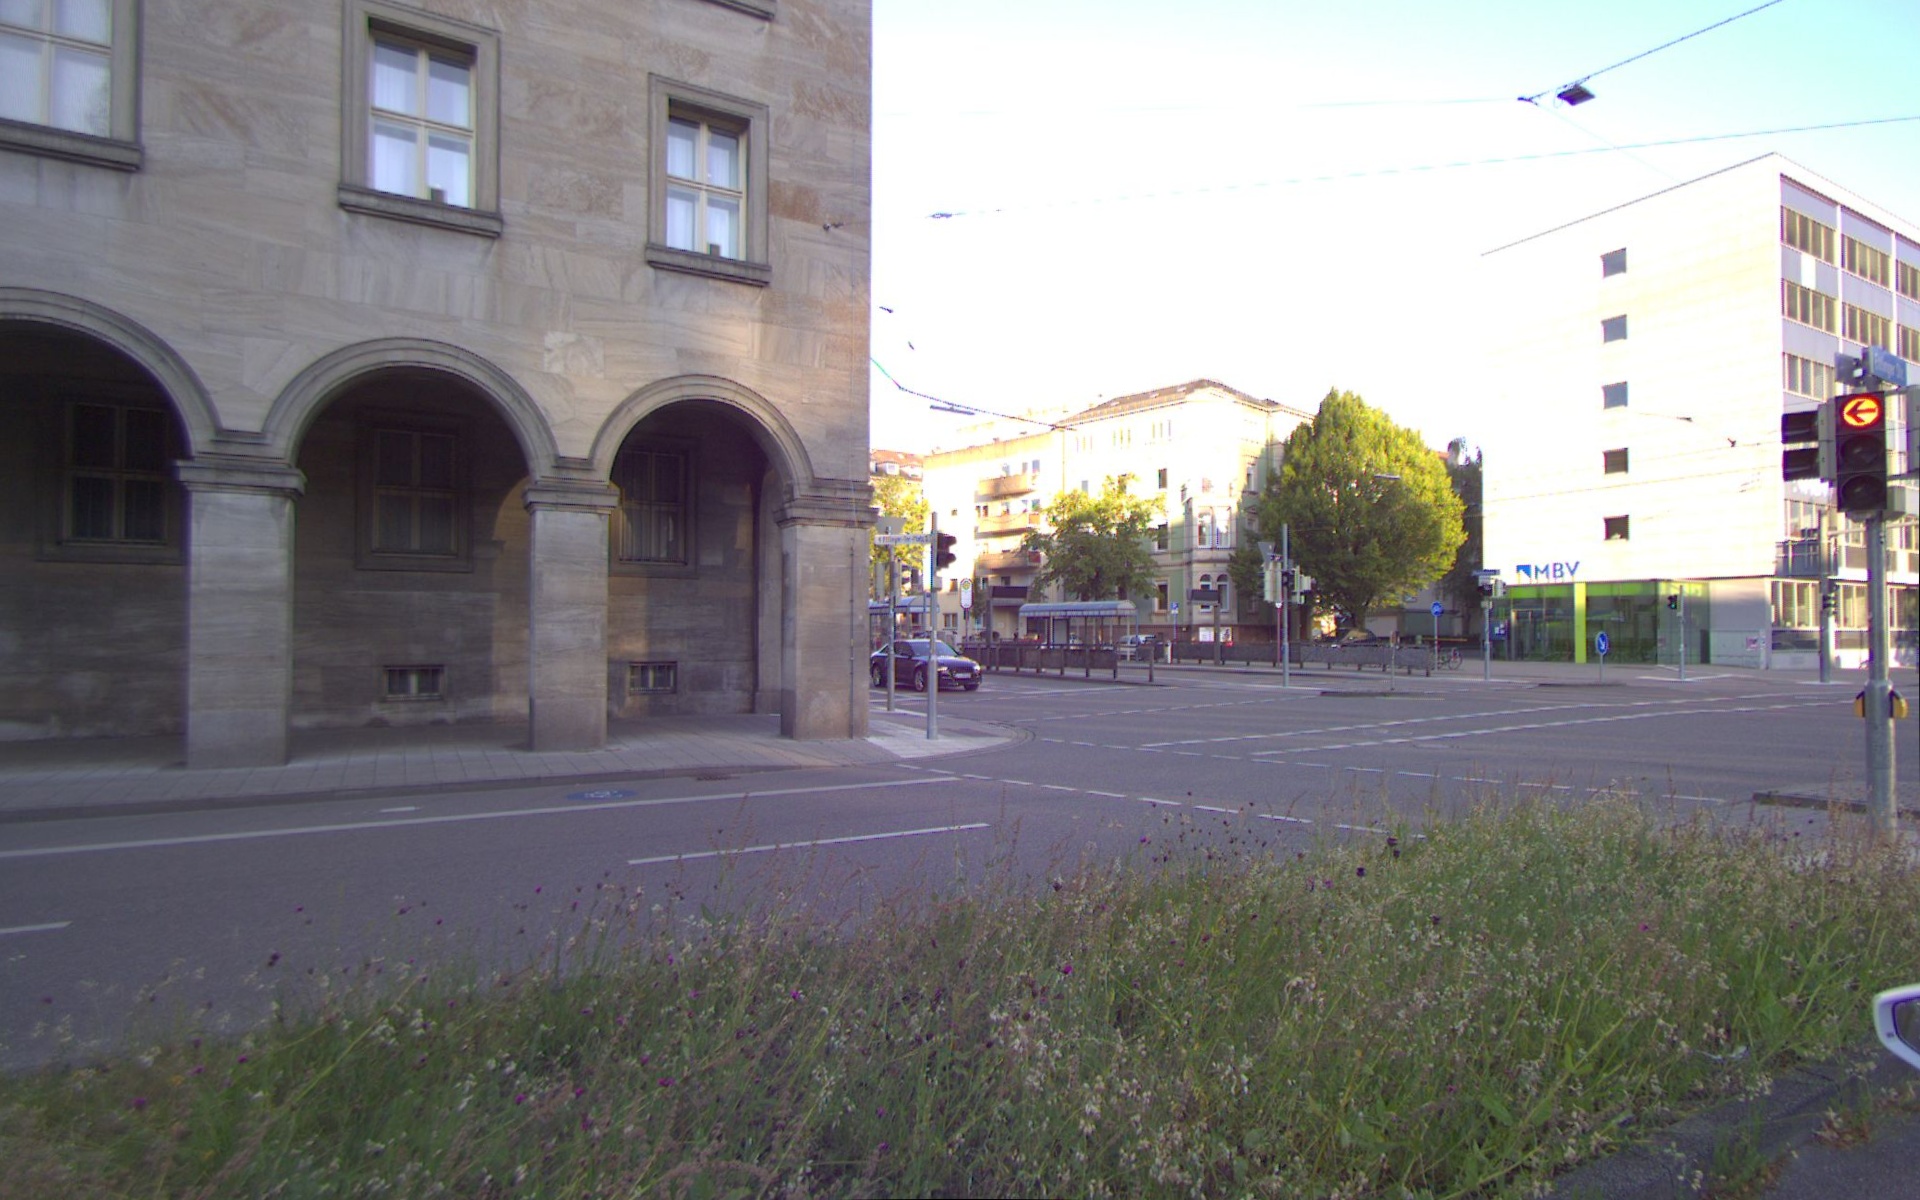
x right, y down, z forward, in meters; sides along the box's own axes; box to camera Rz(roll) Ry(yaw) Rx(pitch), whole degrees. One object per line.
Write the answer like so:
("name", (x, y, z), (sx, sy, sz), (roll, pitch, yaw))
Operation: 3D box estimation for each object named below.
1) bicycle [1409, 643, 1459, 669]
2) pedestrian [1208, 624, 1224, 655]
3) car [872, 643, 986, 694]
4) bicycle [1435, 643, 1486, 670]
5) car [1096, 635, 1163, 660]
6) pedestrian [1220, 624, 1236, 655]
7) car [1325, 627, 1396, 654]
("bicycle", (21.012, 2.487, 44.550), (2.183, 1.127, 0.834), (1, -2, -26))
("pedestrian", (15.008, 2.311, 58.948), (0.718, 1.813, 0.634), (2, -2, -44))
("car", (-1.002, 1.976, 29.715), (1.791, 1.344, 4.120), (1, -2, -27))
("bicycle", (21.691, 2.422, 43.496), (2.183, 1.127, 0.834), (1, -2, -26))
("car", (9.982, 2.782, 59.237), (3.545, 1.390, 1.830), (-2, -3, 45))
("pedestrian", (15.826, 2.307, 59.313), (0.718, 1.813, 0.634), (2, -2, -43))
("car", (21.706, 2.183, 54.464), (3.553, 1.390, 1.826), (1, -2, -32))
